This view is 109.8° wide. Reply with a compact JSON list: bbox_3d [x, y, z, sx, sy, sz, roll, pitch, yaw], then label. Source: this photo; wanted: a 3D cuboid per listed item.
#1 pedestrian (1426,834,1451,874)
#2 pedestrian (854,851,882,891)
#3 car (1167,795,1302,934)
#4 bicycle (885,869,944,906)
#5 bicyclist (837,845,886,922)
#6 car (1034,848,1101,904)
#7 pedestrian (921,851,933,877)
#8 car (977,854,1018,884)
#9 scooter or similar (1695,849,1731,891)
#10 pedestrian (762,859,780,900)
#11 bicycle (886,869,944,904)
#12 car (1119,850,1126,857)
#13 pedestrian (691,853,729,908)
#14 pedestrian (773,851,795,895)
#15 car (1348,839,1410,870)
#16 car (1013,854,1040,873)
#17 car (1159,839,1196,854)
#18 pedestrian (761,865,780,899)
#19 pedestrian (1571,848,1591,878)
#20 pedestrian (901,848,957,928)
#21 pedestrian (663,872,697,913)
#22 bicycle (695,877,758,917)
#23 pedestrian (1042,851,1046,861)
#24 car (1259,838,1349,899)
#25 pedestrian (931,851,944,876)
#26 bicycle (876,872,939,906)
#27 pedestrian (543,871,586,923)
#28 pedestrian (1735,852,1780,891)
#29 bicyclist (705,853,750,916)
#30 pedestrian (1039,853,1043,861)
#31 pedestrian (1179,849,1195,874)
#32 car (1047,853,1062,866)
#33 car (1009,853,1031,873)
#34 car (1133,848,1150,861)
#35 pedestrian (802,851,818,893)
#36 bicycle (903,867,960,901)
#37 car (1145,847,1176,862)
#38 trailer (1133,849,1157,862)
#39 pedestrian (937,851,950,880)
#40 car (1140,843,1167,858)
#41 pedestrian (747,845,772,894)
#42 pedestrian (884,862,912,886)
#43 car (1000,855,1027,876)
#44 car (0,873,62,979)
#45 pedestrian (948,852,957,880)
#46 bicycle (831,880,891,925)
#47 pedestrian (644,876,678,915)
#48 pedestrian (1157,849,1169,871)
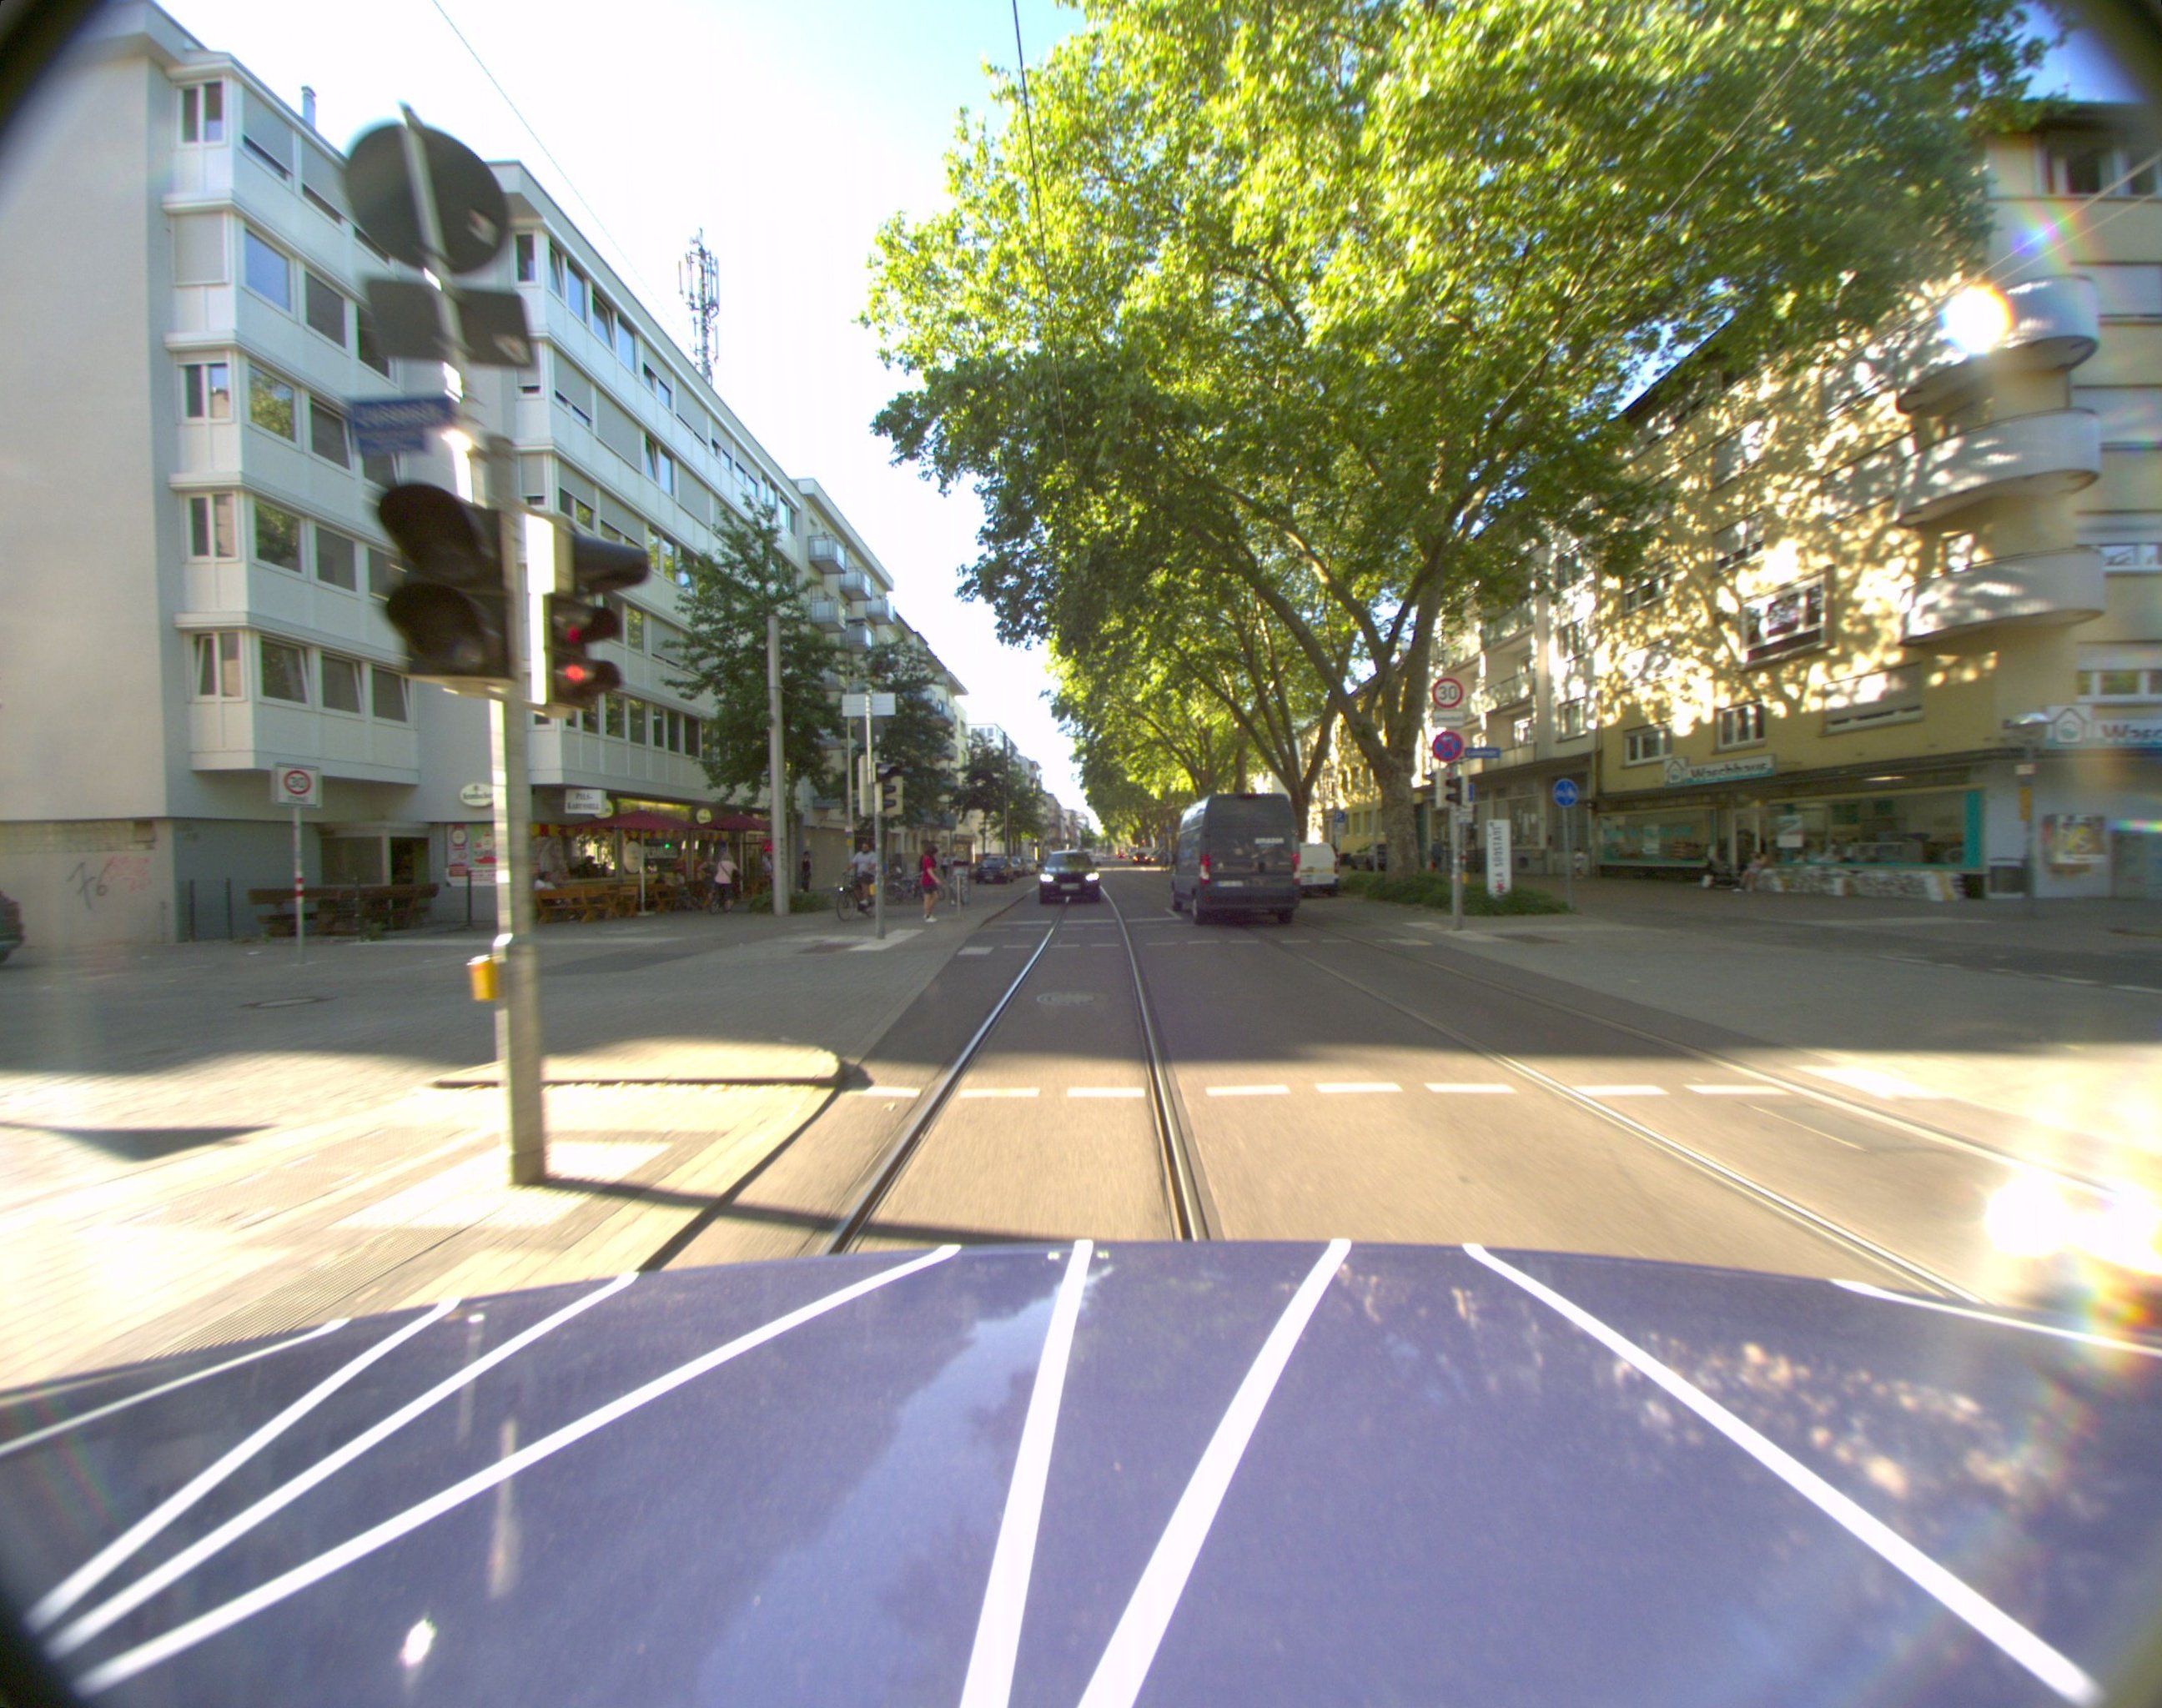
[{"bbox_3d":[16.912,-0.001,35.945,0.746,1.859,0.864,-2,1,0],"label":"pedestrian"},{"bbox_3d":[-9.755,0.781,34.841,0.997,1.774,0.591,-3,2,-38],"label":"pedestrian"},{"bbox_3d":[3.380,0.174,18.035,2.119,2.722,6.114,0,1,2],"label":"car"},{"bbox_3d":[-5.472,1.097,25.018,1.821,1.094,0.497,-2,1,-6],"label":"bicycle"},{"bbox_3d":[-5.386,0.693,18.670,0.769,1.821,1.099,-2,1,2],"label":"bicyclist"},{"bbox_3d":[-0.374,0.668,25.793,1.998,1.723,4.399,0,1,2],"label":"car"},{"bbox_3d":[-10.031,0.637,49.451,0.597,1.668,0.934,1,1,0],"label":"pedestrian"},{"bbox_3d":[-4.839,0.814,44.420,1.763,1.578,4.329,2,1,2],"label":"car"},{"bbox_3d":[17.962,0.454,21.606,0.642,1.160,0.676,-2,1,28],"label":"scooter or similar"},{"bbox_3d":[-12.241,0.999,30.009,0.508,1.619,0.517,-3,2,-36],"label":"pedestrian"},{"bbox_3d":[-5.577,1.084,25.581,1.821,1.094,0.481,-2,1,-6],"label":"bicycle"},{"bbox_3d":[11.292,-0.235,206.793,1.998,1.723,4.399,-2,1,2],"label":"car"},{"bbox_3d":[-11.584,0.826,23.753,0.812,1.649,0.680,-1,1,34],"label":"pedestrian"},{"bbox_3d":[-12.461,0.782,31.886,0.633,1.795,0.525,-3,2,-45],"label":"pedestrian"},{"bbox_3d":[18.156,-0.022,46.550,1.998,1.723,4.898,-2,1,3],"label":"car"},{"bbox_3d":[-4.532,0.771,63.497,1.791,1.528,4.128,1,0,1],"label":"car"},{"bbox_3d":[14.208,-1.128,112.052,5.134,1.984,1.999,-2,1,-3],"label":"car"},{"bbox_3d":[-12.283,1.101,30.089,0.510,1.269,0.625,-3,1,-35],"label":"pedestrian"},{"bbox_3d":[18.699,0.346,28.408,0.421,1.099,0.437,-2,1,-8],"label":"pedestrian"},{"bbox_3d":[-3.450,0.753,17.338,1.047,1.748,0.878,-2,1,0],"label":"pedestrian"},{"bbox_3d":[-11.996,1.140,22.739,0.660,1.168,0.522,-2,1,0],"label":"pedestrian"},{"bbox_3d":[-9.983,1.195,21.496,0.678,0.957,2.022,-2,1,4],"label":"bicycle"},{"bbox_3d":[-6.369,0.310,131.129,0.697,1.685,0.678,-2,1,2],"label":"pedestrian"},{"bbox_3d":[7.454,0.439,25.838,1.767,1.840,4.317,-2,1,0],"label":"car"},{"bbox_3d":[-9.355,0.626,49.450,0.643,1.628,0.869,1,1,0],"label":"pedestrian"},{"bbox_3d":[-5.475,1.114,24.039,1.820,0.988,0.481,-2,1,0],"label":"bicycle"},{"bbox_3d":[-13.331,1.091,19.620,0.536,1.280,0.715,-2,1,3],"label":"pedestrian"},{"bbox_3d":[18.439,0.468,20.713,0.580,1.041,0.711,-2,1,1],"label":"pedestrian"},{"bbox_3d":[-9.974,0.848,21.476,0.678,1.707,0.965,-2,1,4],"label":"bicyclist"},{"bbox_3d":[-7.137,0.554,134.192,0.590,1.493,0.600,-2,1,2],"label":"pedestrian"},{"bbox_3d":[7.318,0.503,52.519,0.772,1.725,0.712,-3,1,-25],"label":"pedestrian"},{"bbox_3d":[-4.118,0.859,118.319,1.958,1.914,4.000,-2,1,2],"label":"car"},{"bbox_3d":[-4.739,0.708,59.506,1.448,1.528,2.881,1,0,1],"label":"car"},{"bbox_3d":[8.194,0.088,102.773,1.928,1.674,4.181,1,1,0],"label":"car"},{"bbox_3d":[-11.789,0.791,33.033,0.432,1.786,0.489,-2,1,1],"label":"pedestrian"},{"bbox_3d":[-5.147,1.024,26.172,1.820,1.094,0.525,-1,1,1],"label":"bicycle"},{"bbox_3d":[12.646,0.082,120.707,4.660,2.293,2.000,-2,1,2],"label":"car"},{"bbox_3d":[8.144,0.175,97.306,2.452,1.622,6.583,1,1,0],"label":"trailer"},{"bbox_3d":[-9.081,0.745,50.091,0.663,1.841,0.539,-2,1,1],"label":"pedestrian"},{"bbox_3d":[12.908,-0.564,135.318,4.660,2.518,2.000,-2,1,2],"label":"car"},{"bbox_3d":[-13.223,0.631,31.245,0.507,1.943,0.793,-2,1,11],"label":"pedestrian"},{"bbox_3d":[-8.244,0.899,34.190,0.999,1.021,0.662,-2,1,32],"label":"pedestrian"},{"bbox_3d":[-4.927,0.803,55.675,1.626,1.473,3.889,1,0,-1],"label":"car"},{"bbox_3d":[-18.719,1.197,11.356,4.259,1.583,1.966,-2,2,1],"label":"car"},{"bbox_3d":[-8.496,0.812,50.231,0.477,1.841,0.664,-2,1,-1],"label":"pedestrian"},{"bbox_3d":[-5.370,1.168,18.659,0.790,0.932,1.939,-2,1,2],"label":"bicycle"},{"bbox_3d":[-12.104,1.187,21.917,0.643,1.072,0.522,-2,1,0],"label":"pedestrian"},{"bbox_3d":[6.711,0.476,62.338,0.700,1.781,0.801,-2,1,-11],"label":"pedestrian"}]
